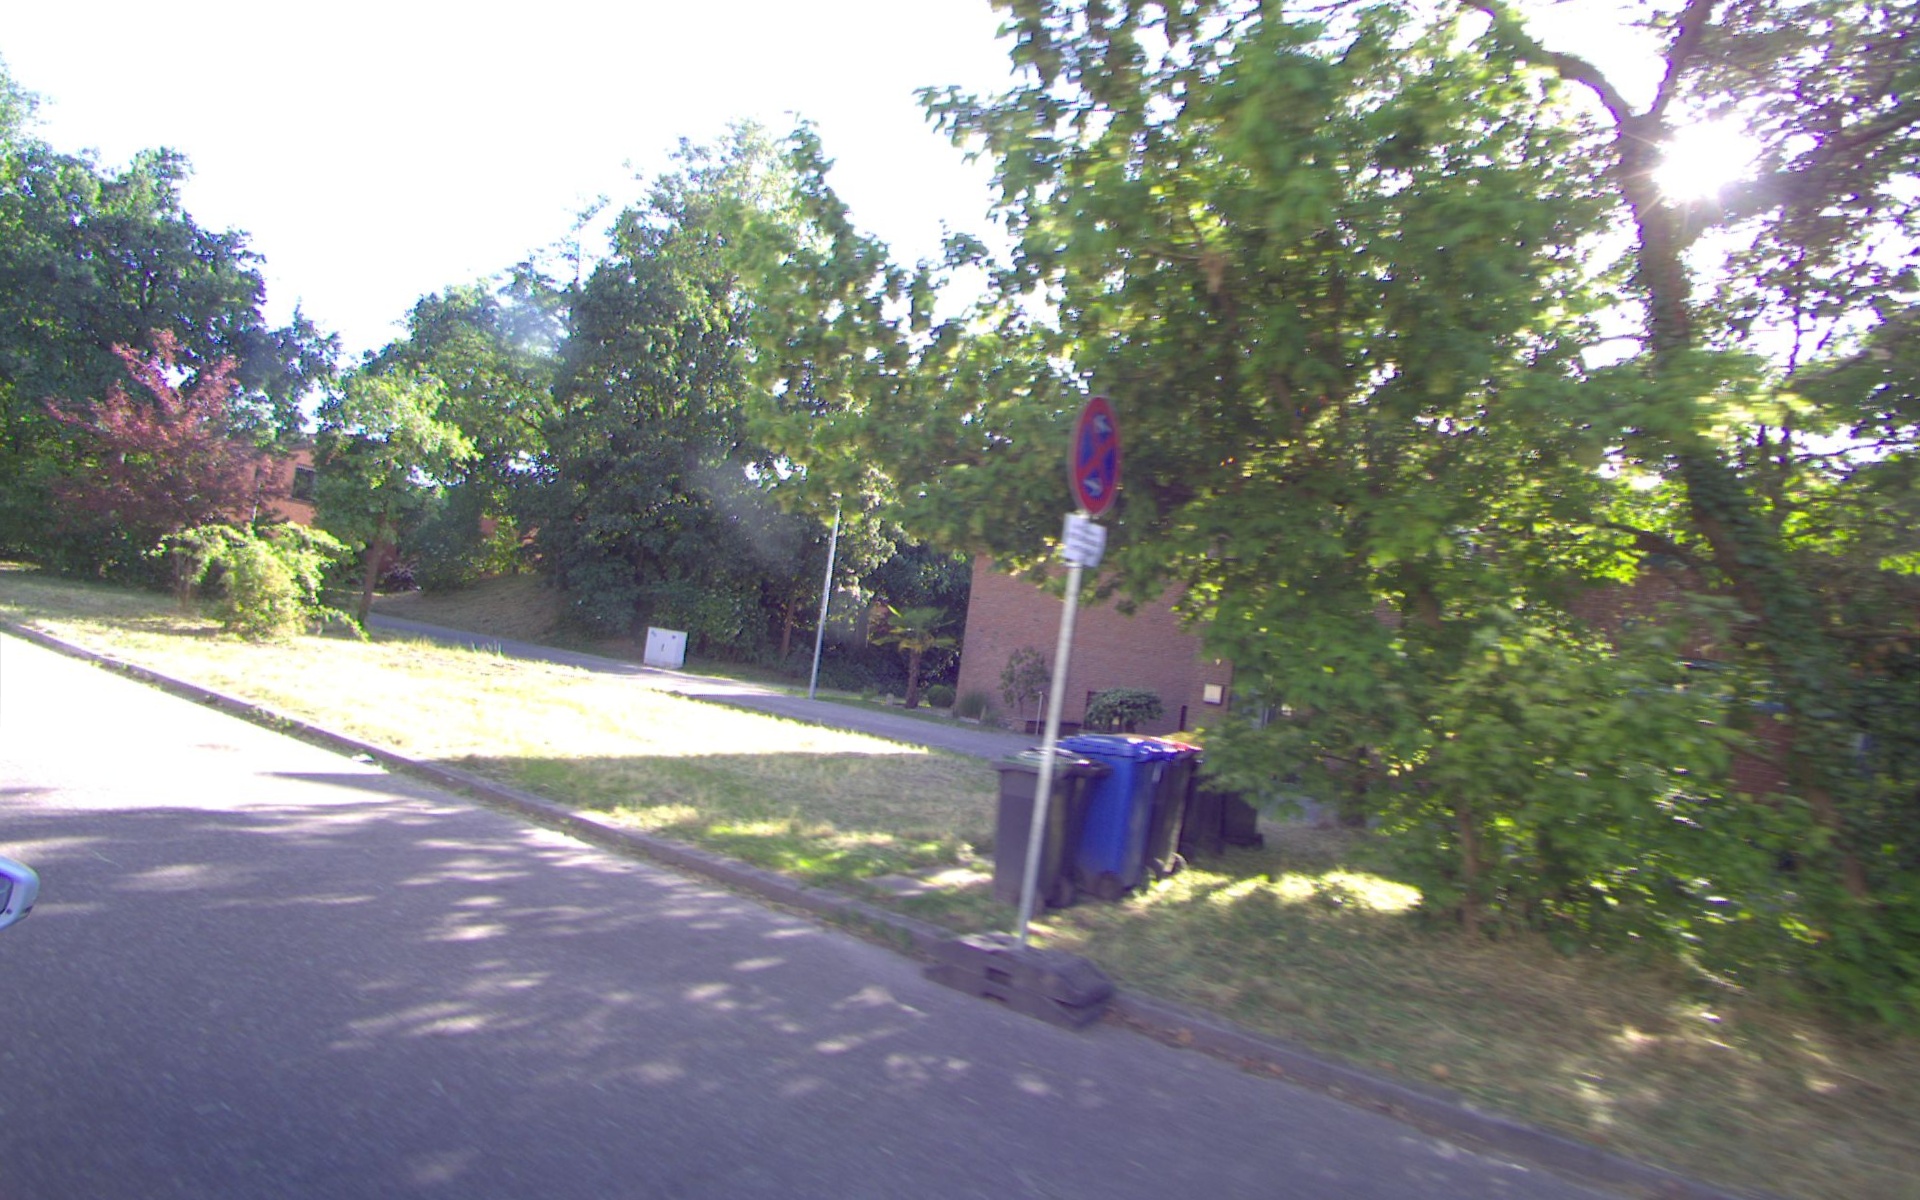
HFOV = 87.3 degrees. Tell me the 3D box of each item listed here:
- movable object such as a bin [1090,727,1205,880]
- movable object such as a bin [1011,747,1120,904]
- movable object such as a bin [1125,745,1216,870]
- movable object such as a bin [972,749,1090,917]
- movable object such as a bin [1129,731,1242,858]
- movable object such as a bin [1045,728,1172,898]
[{"bbox_3d":[1.433,1.516,7.662,0.598,1.011,0.563,6,-1,32],"label":"movable object such as a bin"},{"bbox_3d":[0.685,1.436,6.514,0.476,0.880,0.413,6,-1,32],"label":"movable object such as a bin"},{"bbox_3d":[1.709,1.665,8.165,0.516,0.880,0.419,6,-1,32],"label":"movable object such as a bin"},{"bbox_3d":[0.435,1.386,6.094,0.476,0.880,0.413,6,-1,32],"label":"movable object such as a bin"},{"bbox_3d":[1.979,1.671,8.797,0.683,0.939,0.695,6,-2,32],"label":"movable object such as a bin"},{"bbox_3d":[1.024,1.432,6.918,0.598,1.011,0.519,6,-1,32],"label":"movable object such as a bin"}]
